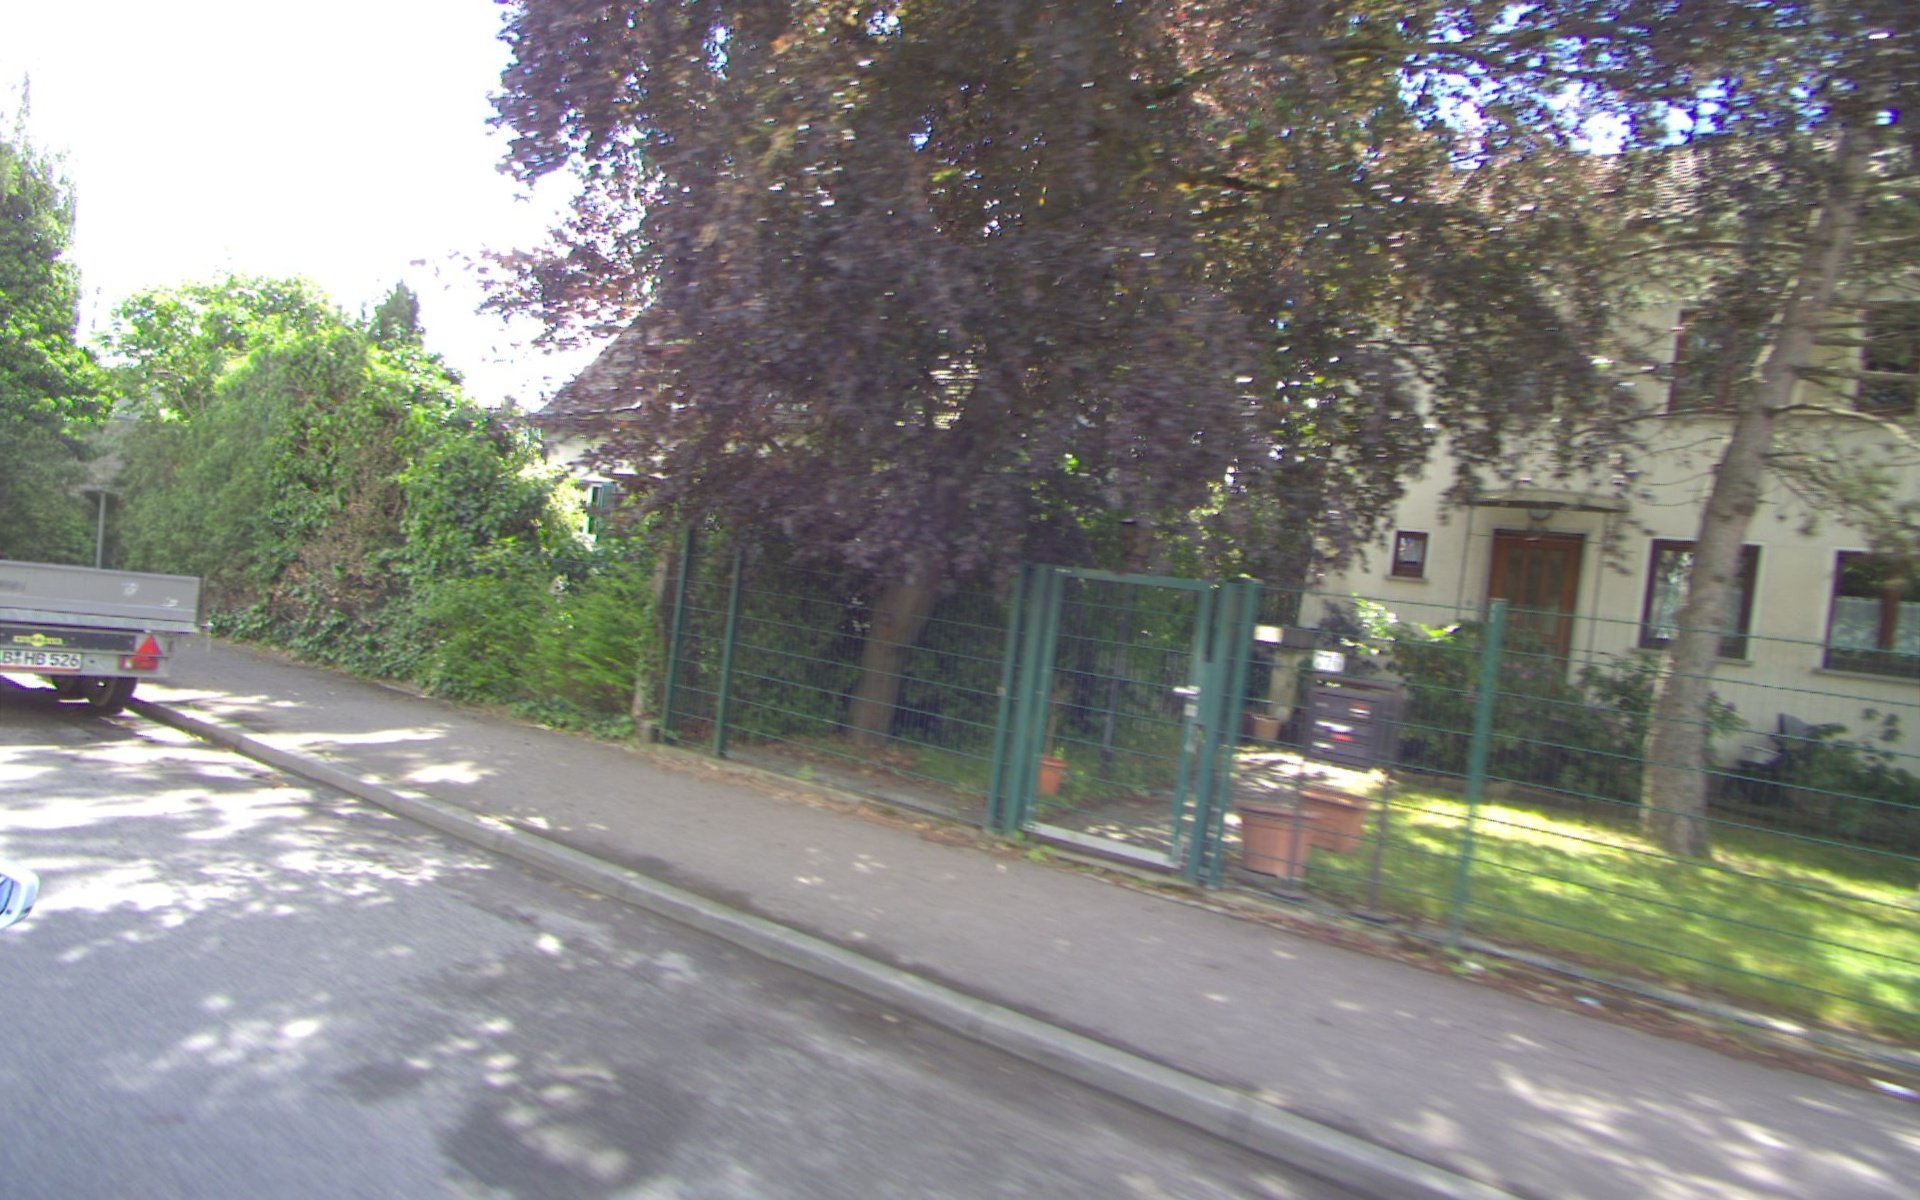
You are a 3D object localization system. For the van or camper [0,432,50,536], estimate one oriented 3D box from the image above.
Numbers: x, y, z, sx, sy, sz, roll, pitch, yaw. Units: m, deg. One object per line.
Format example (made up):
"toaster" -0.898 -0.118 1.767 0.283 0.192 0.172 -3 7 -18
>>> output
"van or camper" -33.210 -4.054 33.045 6.797 3.099 2.885 7 0 31

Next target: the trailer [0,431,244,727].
"trailer" -7.843 -0.323 7.759 4.686 1.844 1.997 7 -2 32
